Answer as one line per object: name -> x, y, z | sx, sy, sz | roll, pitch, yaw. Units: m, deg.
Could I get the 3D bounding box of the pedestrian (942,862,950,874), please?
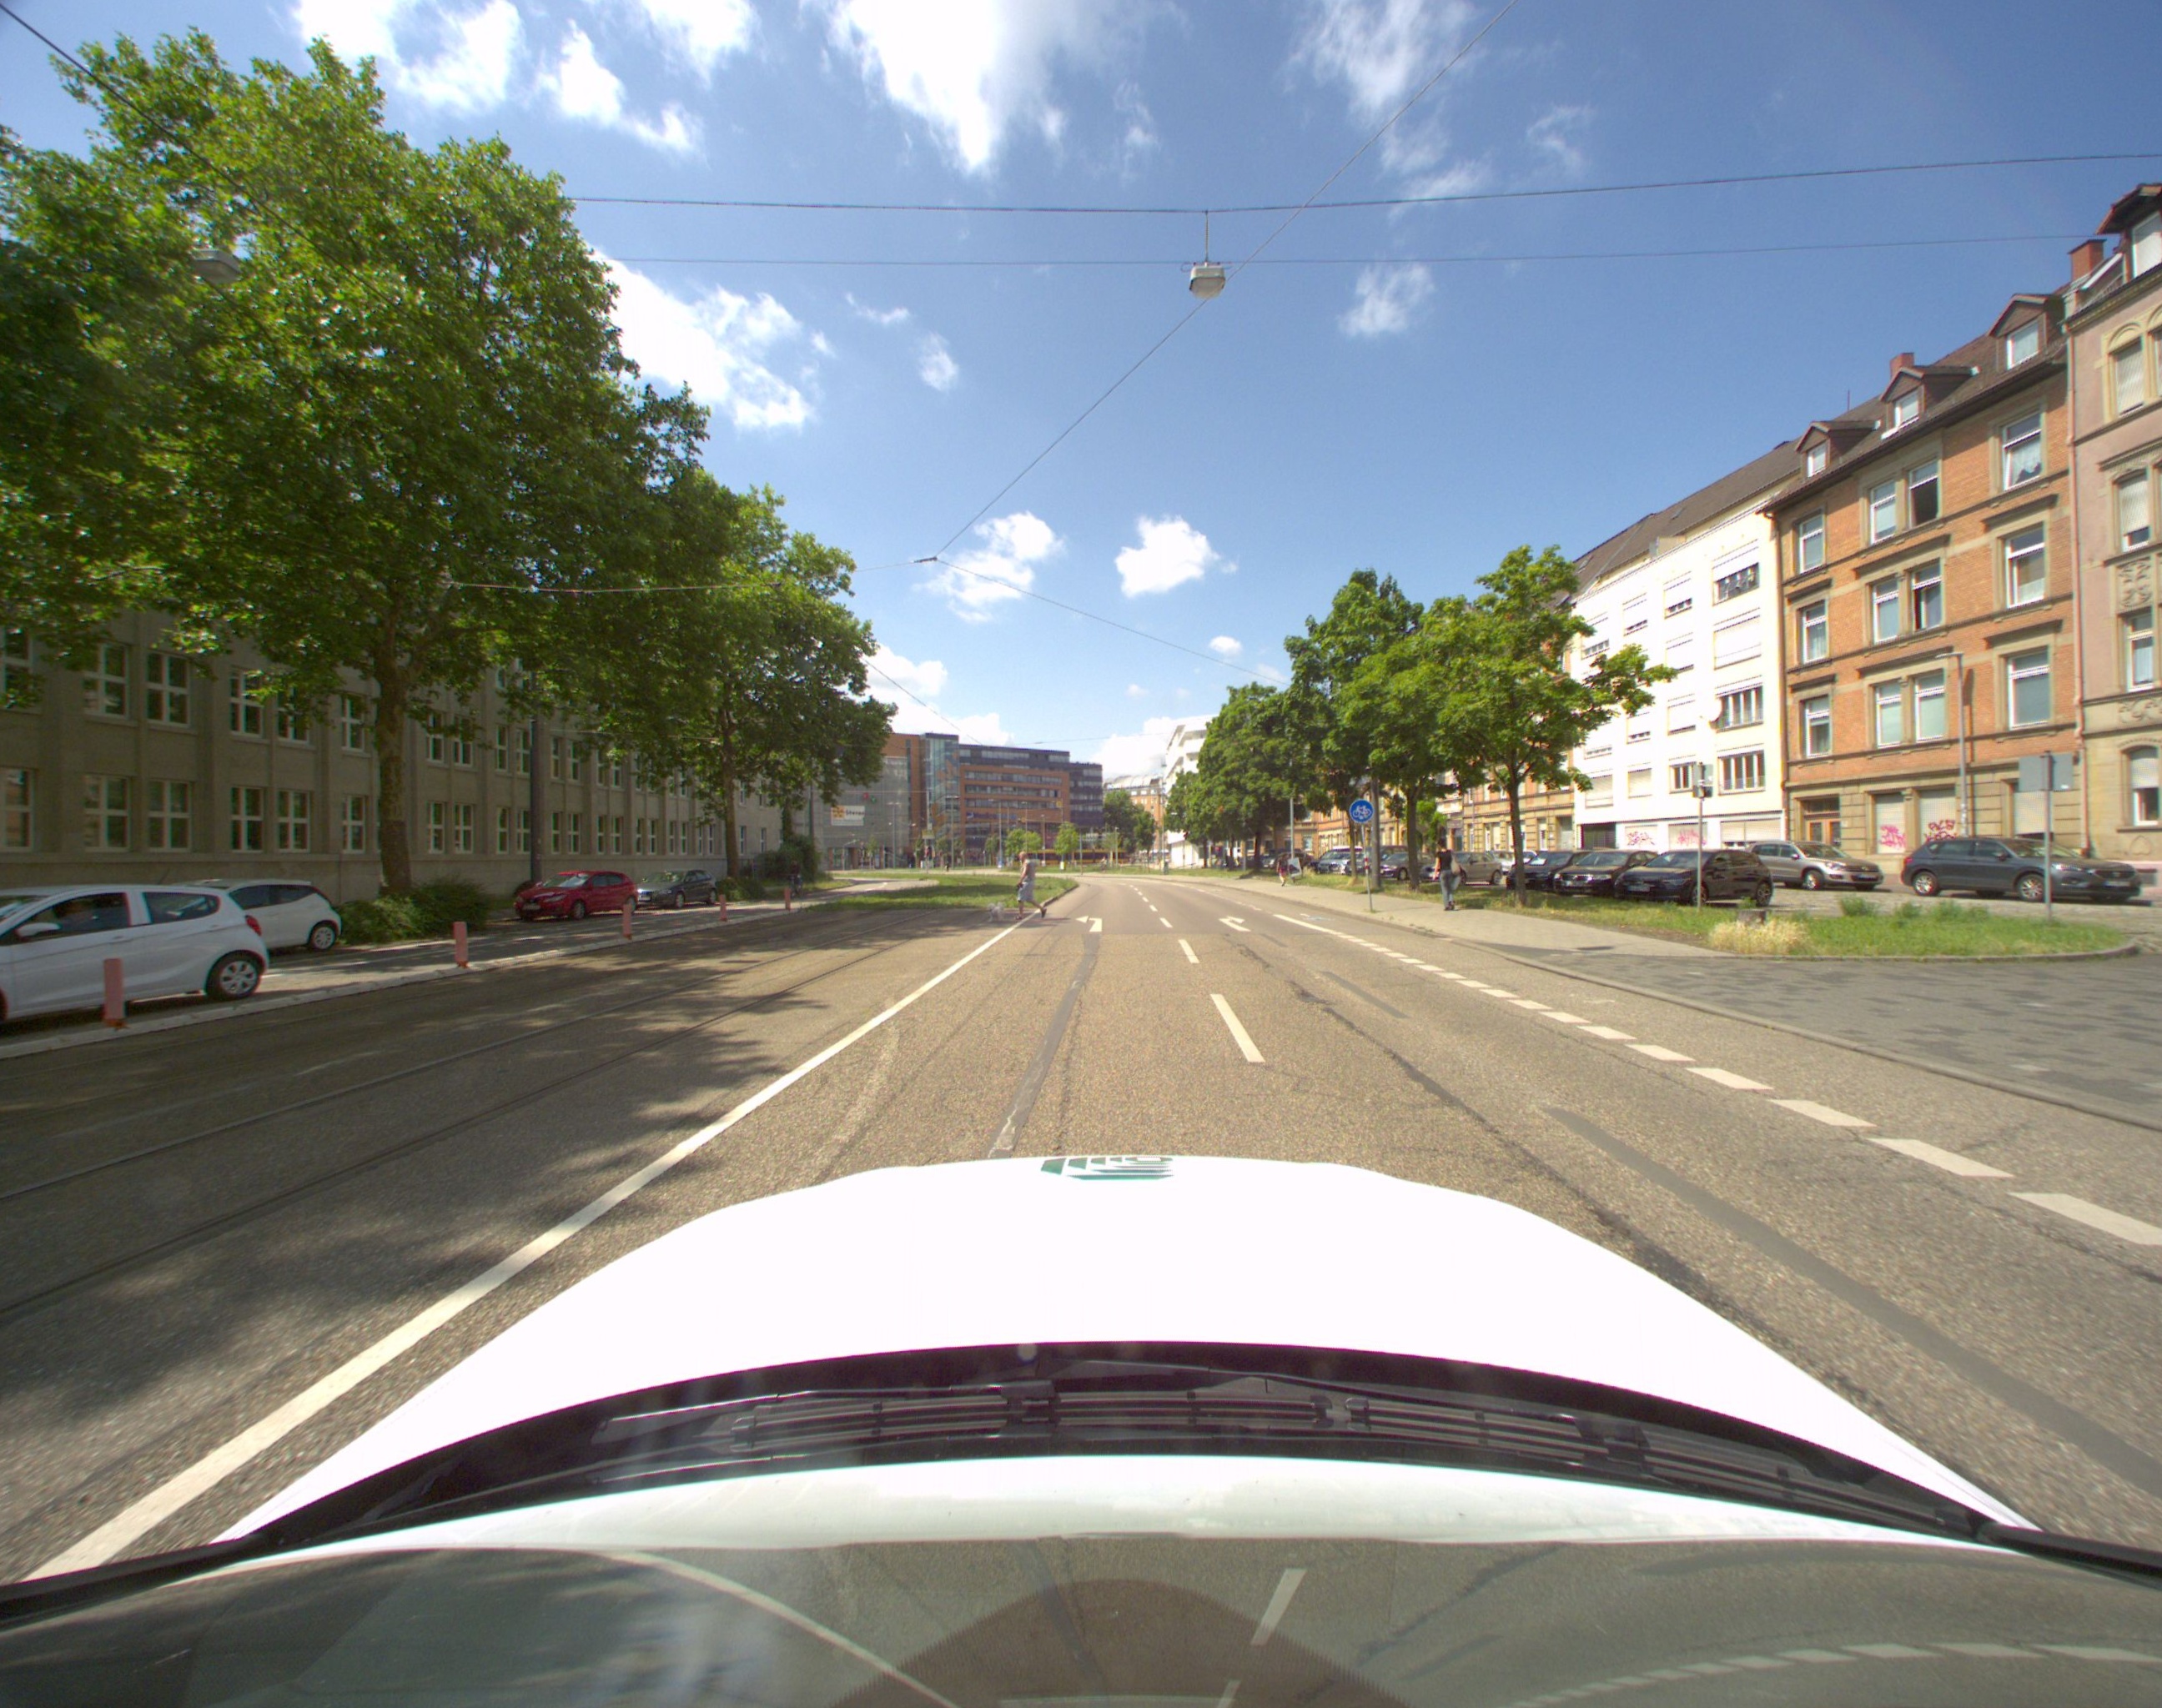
pedestrian -> -20.991, 2.165, 126.322 | 0.907, 1.702, 0.813 | -2, 0, 26

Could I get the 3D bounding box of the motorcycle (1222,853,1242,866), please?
motorcycle -> 14.471, 0.532, 78.096 | 1.777, 1.167, 0.640 | -1, 0, 0

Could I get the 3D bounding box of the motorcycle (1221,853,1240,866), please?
motorcycle -> 14.495, 0.521, 78.979 | 1.777, 1.167, 0.640 | -1, 0, 0

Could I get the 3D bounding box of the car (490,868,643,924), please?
car -> -15.395, 1.206, 24.671 | 1.918, 1.420, 4.053 | 1, 1, 2

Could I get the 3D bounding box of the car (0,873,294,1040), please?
car -> -11.143, 1.060, 8.639 | 1.754, 1.480, 3.789 | -3, 1, 1

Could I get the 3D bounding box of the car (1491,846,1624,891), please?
car -> 15.765, 0.451, 26.930 | 4.007, 1.380, 1.945 | 0, 0, -26

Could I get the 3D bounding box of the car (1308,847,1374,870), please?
car -> 16.466, 0.315, 51.542 | 4.100, 1.405, 1.833 | 0, 0, -33

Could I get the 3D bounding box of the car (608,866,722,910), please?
car -> -15.043, 1.190, 29.744 | 1.920, 1.369, 4.318 | 1, 1, 0

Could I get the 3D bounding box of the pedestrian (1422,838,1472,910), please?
pedestrian -> 8.962, 0.479, 19.964 | 0.698, 1.704, 1.045 | -3, 0, 1

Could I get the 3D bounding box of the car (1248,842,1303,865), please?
car -> 16.790, 0.012, 70.283 | 4.642, 1.927, 1.899 | 0, 0, -29

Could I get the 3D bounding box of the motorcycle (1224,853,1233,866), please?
motorcycle -> 13.652, 0.531, 75.459 | 0.633, 1.167, 1.914 | -1, 0, 14

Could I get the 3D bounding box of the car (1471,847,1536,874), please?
car -> 24.640, 0.350, 47.650 | 1.825, 1.492, 4.229 | 0, 0, 2

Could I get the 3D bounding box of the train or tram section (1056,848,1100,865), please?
train or tram section -> -0.536, 0.606, 176.799 | 3.026, 3.603, 11.061 | 0, 0, 40

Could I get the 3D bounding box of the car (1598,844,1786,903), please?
car -> 15.223, 0.468, 20.328 | 4.001, 1.354, 1.948 | 0, 0, -21

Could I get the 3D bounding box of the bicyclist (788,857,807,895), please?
bicyclist -> -13.004, 0.987, 37.364 | 0.762, 1.704, 0.779 | 0, -1, -15

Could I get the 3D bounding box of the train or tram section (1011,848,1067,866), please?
train or tram section -> -8.522, 0.560, 167.280 | 3.185, 3.599, 13.584 | 0, 0, 40

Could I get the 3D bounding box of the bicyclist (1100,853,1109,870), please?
bicyclist -> 2.629, 0.825, 90.905 | 0.688, 1.824, 0.961 | -3, 1, 19

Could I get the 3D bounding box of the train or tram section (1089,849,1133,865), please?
train or tram section -> 7.004, 0.690, 186.119 | 3.026, 3.621, 12.714 | 0, 0, 39

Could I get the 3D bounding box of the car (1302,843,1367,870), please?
car -> 17.032, 0.186, 54.708 | 4.161, 1.741, 1.835 | 0, 0, -29

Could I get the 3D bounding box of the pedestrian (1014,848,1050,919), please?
pedestrian -> -1.198, 0.718, 19.904 | 0.777, 1.704, 0.703 | 0, -1, 4

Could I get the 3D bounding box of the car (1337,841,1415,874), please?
car -> 16.140, 0.197, 44.525 | 4.383, 1.741, 1.833 | 0, 0, -34

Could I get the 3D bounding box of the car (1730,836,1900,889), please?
car -> 24.495, 0.275, 27.450 | 1.825, 1.615, 4.498 | 0, 0, 2

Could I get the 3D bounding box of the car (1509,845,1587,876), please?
car -> 24.430, 0.332, 42.776 | 1.825, 1.492, 4.229 | 0, 0, 2

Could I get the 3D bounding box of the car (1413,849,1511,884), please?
car -> 16.020, 0.504, 34.182 | 4.286, 1.380, 1.833 | 0, 0, -34

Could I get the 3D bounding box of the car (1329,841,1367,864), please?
car -> 25.501, -0.144, 78.062 | 2.102, 2.178, 5.397 | 0, 0, 2

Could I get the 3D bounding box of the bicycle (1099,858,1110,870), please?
bicycle -> 2.635, 1.131, 90.868 | 0.688, 1.242, 1.848 | -3, 1, 18

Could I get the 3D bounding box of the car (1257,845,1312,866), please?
car -> 16.807, 0.137, 67.290 | 4.181, 1.656, 1.901 | 0, 0, -25

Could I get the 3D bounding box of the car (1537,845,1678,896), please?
car -> 15.541, 0.465, 24.008 | 4.013, 1.380, 1.942 | 0, 0, -31

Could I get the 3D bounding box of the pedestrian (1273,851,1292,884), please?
pedestrian -> 9.705, 0.636, 39.236 | 0.698, 1.592, 0.905 | 0, 0, 1

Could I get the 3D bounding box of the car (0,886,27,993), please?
car -> -15.724, 1.196, 10.114 | 1.482, 1.453, 2.883 | 1, 1, 0

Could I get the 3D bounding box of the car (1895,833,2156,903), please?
car -> 24.190, 0.331, 21.175 | 1.823, 1.615, 4.502 | 0, 0, 5

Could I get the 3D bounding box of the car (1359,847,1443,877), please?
car -> 15.972, 0.392, 40.572 | 4.286, 1.380, 1.833 | 0, 0, -34

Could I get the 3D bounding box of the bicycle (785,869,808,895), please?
bicycle -> -12.993, 1.283, 37.282 | 0.792, 1.110, 2.265 | 0, 0, -14

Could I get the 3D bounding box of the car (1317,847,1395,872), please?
car -> 16.340, 0.333, 48.311 | 4.710, 1.380, 1.833 | 0, 0, -32

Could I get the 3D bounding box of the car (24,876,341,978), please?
car -> -15.707, 1.191, 14.540 | 1.741, 1.453, 3.491 | 1, 1, 0
